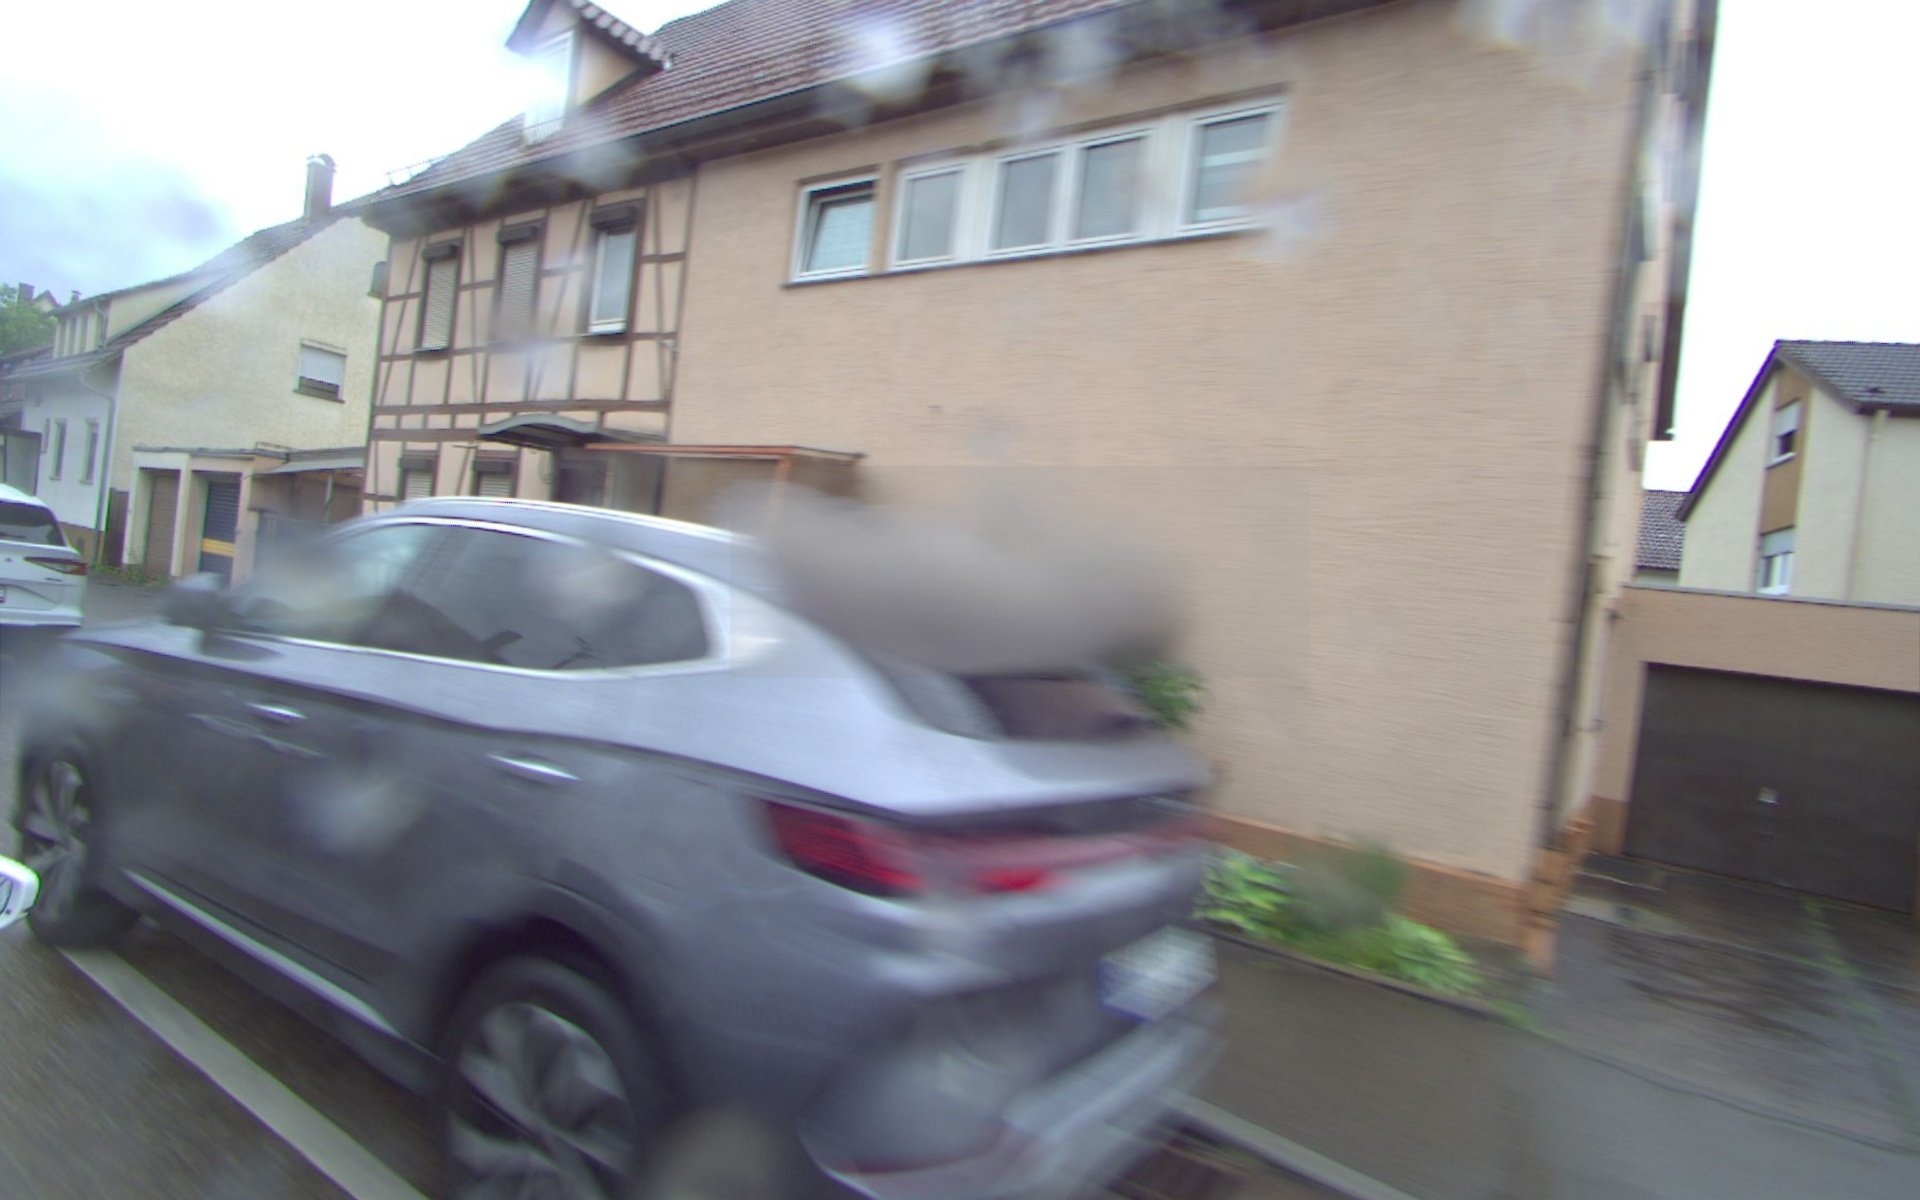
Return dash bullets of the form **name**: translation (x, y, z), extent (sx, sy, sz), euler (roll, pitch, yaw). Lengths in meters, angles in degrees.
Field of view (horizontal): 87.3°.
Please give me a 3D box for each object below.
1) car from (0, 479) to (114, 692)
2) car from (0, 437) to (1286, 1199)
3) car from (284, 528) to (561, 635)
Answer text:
- **car**: translation (-9.396, -0.355, 8.741), extent (4.537, 1.613, 1.805), euler (7, -2, 34)
- **car**: translation (-1.466, 0.547, 3.516), extent (4.481, 1.736, 1.913), euler (6, -3, 32)
- **car**: translation (-9.464, -0.268, 17.989), extent (1.779, 1.476, 3.914), euler (7, 0, 36)
